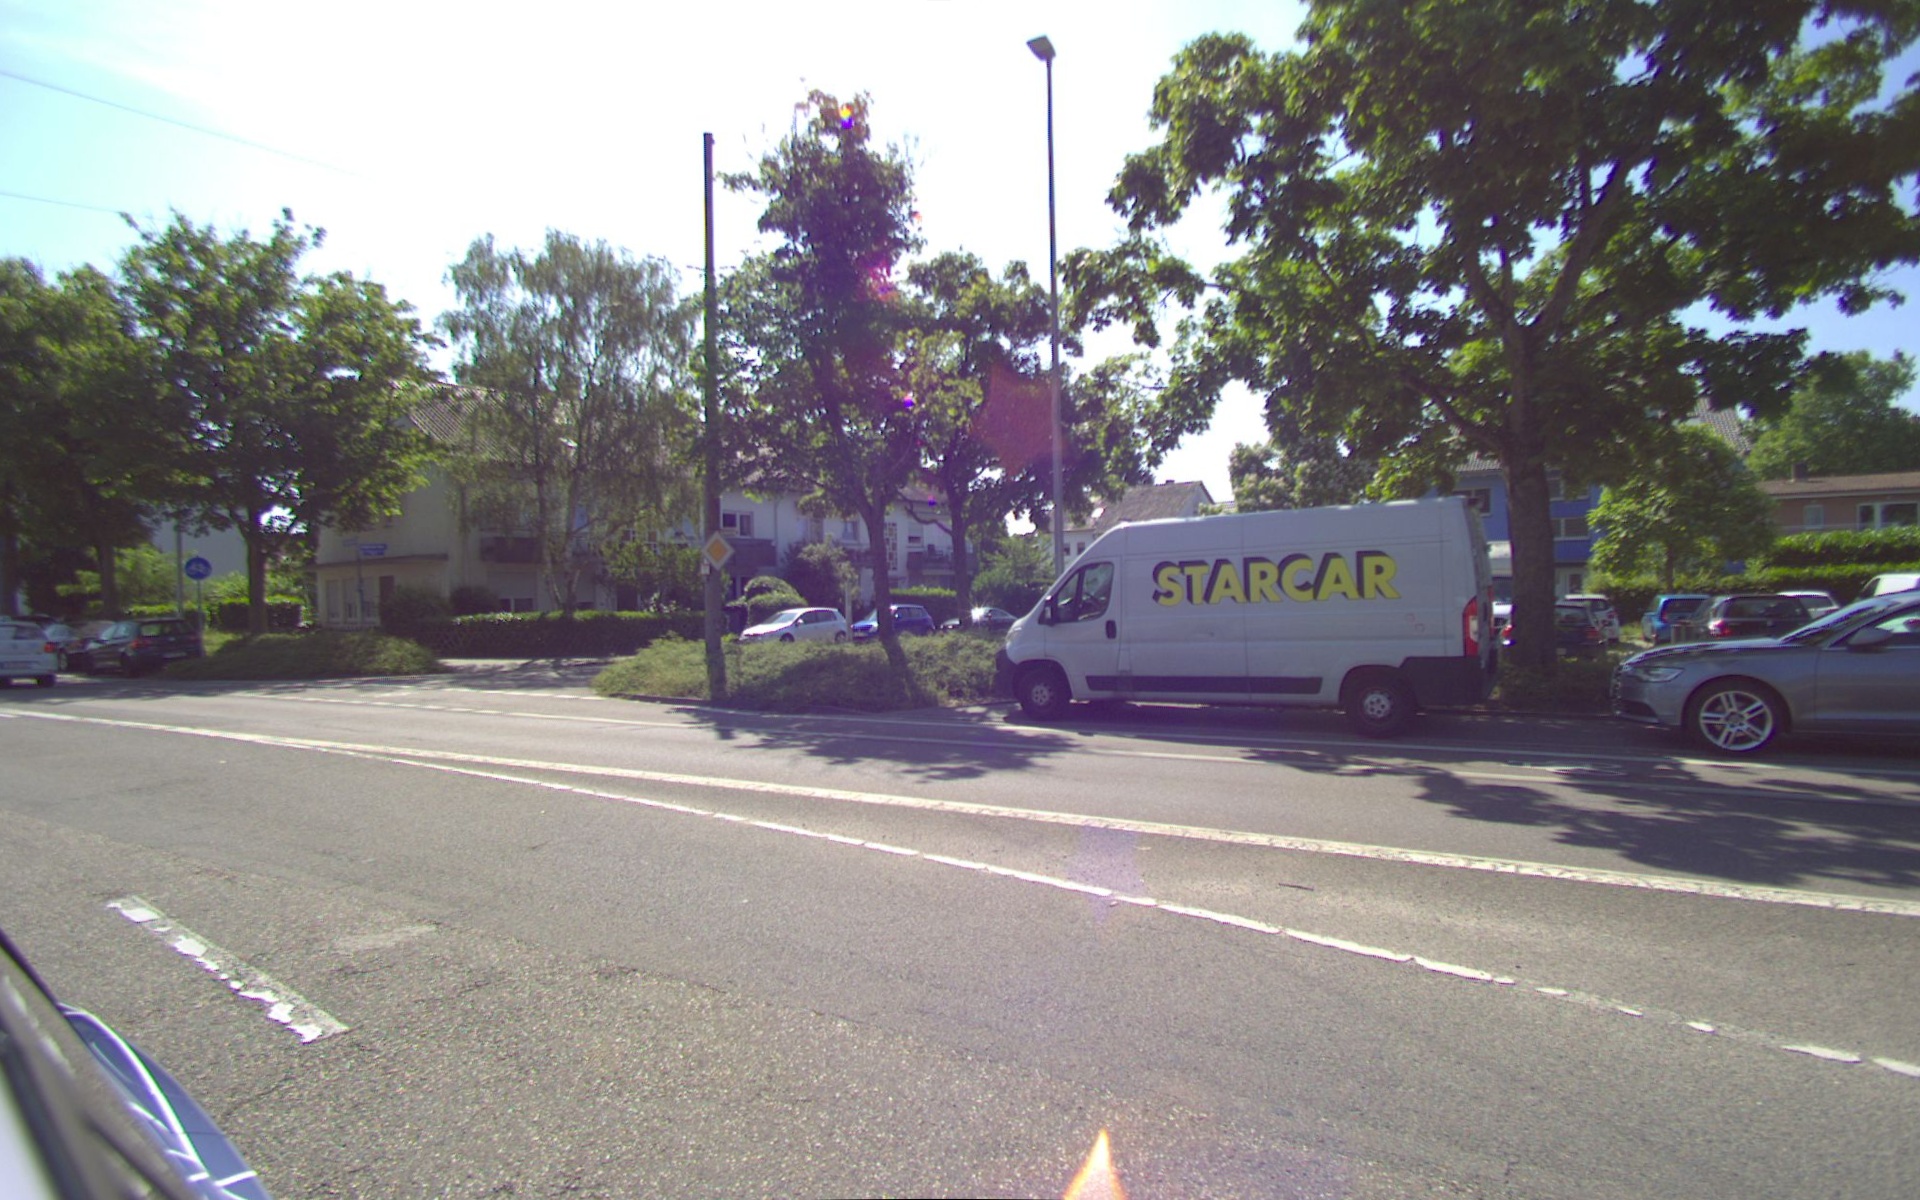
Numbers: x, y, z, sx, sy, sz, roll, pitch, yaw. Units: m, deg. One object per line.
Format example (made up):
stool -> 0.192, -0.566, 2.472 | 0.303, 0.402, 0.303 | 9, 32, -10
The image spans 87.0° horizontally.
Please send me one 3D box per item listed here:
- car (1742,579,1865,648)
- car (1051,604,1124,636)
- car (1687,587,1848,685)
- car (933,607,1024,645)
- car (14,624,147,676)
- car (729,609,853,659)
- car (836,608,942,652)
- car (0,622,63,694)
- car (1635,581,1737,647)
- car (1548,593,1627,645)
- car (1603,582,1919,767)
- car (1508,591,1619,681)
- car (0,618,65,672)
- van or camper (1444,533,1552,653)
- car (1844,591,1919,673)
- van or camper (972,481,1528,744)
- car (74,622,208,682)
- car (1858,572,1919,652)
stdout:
car -> 23.156, 0.355, 27.931 | 1.727, 1.741, 3.963 | -2, -1, 27
car -> 6.200, 0.927, 49.015 | 1.762, 1.467, 3.950 | -1, -1, 37
car -> 14.343, 0.578, 18.184 | 1.657, 1.556, 3.959 | -1, -1, 30
car -> 0.810, 1.045, 41.760 | 1.762, 1.467, 3.950 | -1, -1, 37
car -> -26.066, 1.455, 29.941 | 4.565, 1.405, 1.684 | -1, -1, 31
car -> -5.568, 1.085, 33.748 | 1.804, 1.536, 3.950 | -1, -1, 37
car -> -2.598, 1.077, 37.701 | 1.804, 1.536, 3.950 | -1, -1, 37
car -> -21.217, 1.233, 21.820 | 3.986, 1.476, 1.715 | -1, -2, 32
car -> 20.813, 0.389, 29.160 | 1.777, 1.741, 3.963 | -2, -1, 27
car -> 18.618, 0.544, 30.164 | 1.694, 1.446, 3.962 | -2, -1, 28
car -> 8.584, 0.592, 8.869 | 4.867, 1.465, 1.918 | -1, 1, 31
car -> 11.557, 0.635, 19.561 | 1.656, 1.556, 3.961 | -1, -1, 29
car -> -30.926, 1.421, 32.743 | 4.224, 1.625, 1.664 | -1, 0, 29
van or camper -> 16.524, -0.167, 31.090 | 2.571, 3.269, 6.905 | -1, -1, 28
car -> 16.450, 0.480, 17.007 | 1.657, 1.280, 3.888 | -1, -1, 30
van or camper -> 3.341, 0.184, 12.355 | 6.127, 2.534, 2.240 | -2, -1, 33
car -> -22.049, 1.375, 27.200 | 4.070, 1.461, 1.603 | -2, -1, 32
car -> 24.605, 0.263, 25.638 | 1.777, 1.905, 3.963 | -2, -1, 27
